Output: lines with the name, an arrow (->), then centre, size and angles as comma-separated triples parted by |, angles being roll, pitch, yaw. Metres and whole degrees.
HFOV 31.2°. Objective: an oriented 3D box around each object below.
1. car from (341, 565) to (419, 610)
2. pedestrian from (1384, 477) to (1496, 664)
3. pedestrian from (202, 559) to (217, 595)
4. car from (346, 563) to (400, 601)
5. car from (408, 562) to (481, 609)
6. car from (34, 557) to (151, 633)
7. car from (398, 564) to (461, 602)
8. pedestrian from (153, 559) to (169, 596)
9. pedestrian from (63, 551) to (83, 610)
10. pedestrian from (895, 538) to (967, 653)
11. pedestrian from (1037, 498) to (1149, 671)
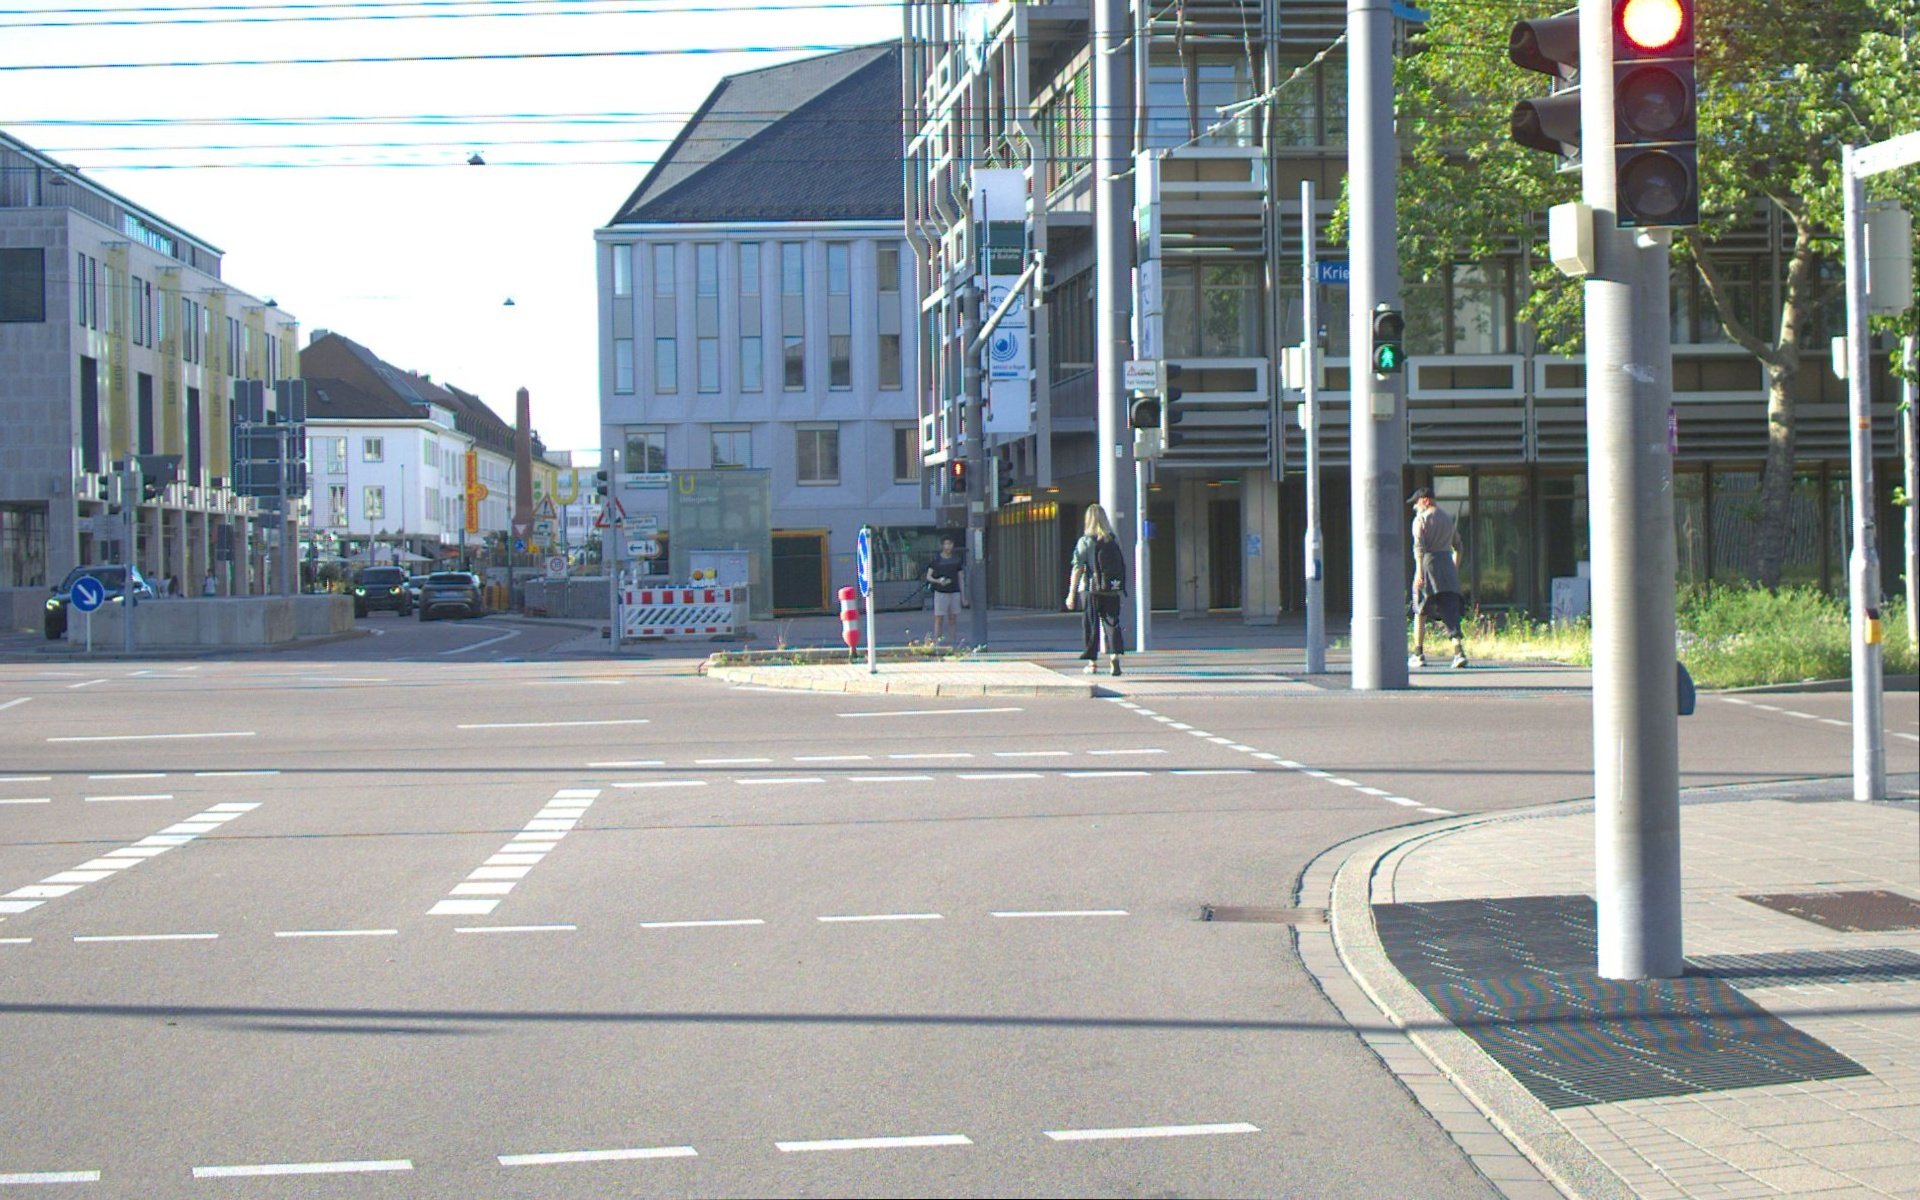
car -> -22.315, -0.469, 132.505 | 2.174, 1.686, 5.487 | -1, 0, -1
pedestrian -> 4.516, -0.286, 32.398 | 0.855, 1.738, 0.739 | -1, 1, -8
pedestrian -> -28.762, -0.882, 131.777 | 0.488, 1.352, 0.564 | 1, 0, -6
car -> -29.498, -0.882, 172.940 | 2.174, 1.866, 5.616 | -1, 0, -4
car -> -16.215, -0.462, 108.276 | 1.936, 1.445, 4.263 | -1, 0, -4
car -> -19.826, -0.137, 78.727 | 1.937, 1.672, 4.295 | -1, 1, -5
car -> -24.141, -0.760, 156.611 | 2.174, 1.686, 5.616 | -1, 0, -2
pedestrian -> -29.150, -0.824, 125.439 | 0.488, 1.352, 0.564 | 1, 0, -6
pedestrian -> -30.013, -0.665, 116.332 | 0.616, 2.007, 0.478 | 1, 0, -15
pedestrian -> -0.478, -0.084, 57.368 | 1.012, 1.904, 1.050 | 0, 1, 9
pedestrian -> 1.221, -0.153, 31.701 | 0.895, 1.544, 0.924 | -1, 2, -7
